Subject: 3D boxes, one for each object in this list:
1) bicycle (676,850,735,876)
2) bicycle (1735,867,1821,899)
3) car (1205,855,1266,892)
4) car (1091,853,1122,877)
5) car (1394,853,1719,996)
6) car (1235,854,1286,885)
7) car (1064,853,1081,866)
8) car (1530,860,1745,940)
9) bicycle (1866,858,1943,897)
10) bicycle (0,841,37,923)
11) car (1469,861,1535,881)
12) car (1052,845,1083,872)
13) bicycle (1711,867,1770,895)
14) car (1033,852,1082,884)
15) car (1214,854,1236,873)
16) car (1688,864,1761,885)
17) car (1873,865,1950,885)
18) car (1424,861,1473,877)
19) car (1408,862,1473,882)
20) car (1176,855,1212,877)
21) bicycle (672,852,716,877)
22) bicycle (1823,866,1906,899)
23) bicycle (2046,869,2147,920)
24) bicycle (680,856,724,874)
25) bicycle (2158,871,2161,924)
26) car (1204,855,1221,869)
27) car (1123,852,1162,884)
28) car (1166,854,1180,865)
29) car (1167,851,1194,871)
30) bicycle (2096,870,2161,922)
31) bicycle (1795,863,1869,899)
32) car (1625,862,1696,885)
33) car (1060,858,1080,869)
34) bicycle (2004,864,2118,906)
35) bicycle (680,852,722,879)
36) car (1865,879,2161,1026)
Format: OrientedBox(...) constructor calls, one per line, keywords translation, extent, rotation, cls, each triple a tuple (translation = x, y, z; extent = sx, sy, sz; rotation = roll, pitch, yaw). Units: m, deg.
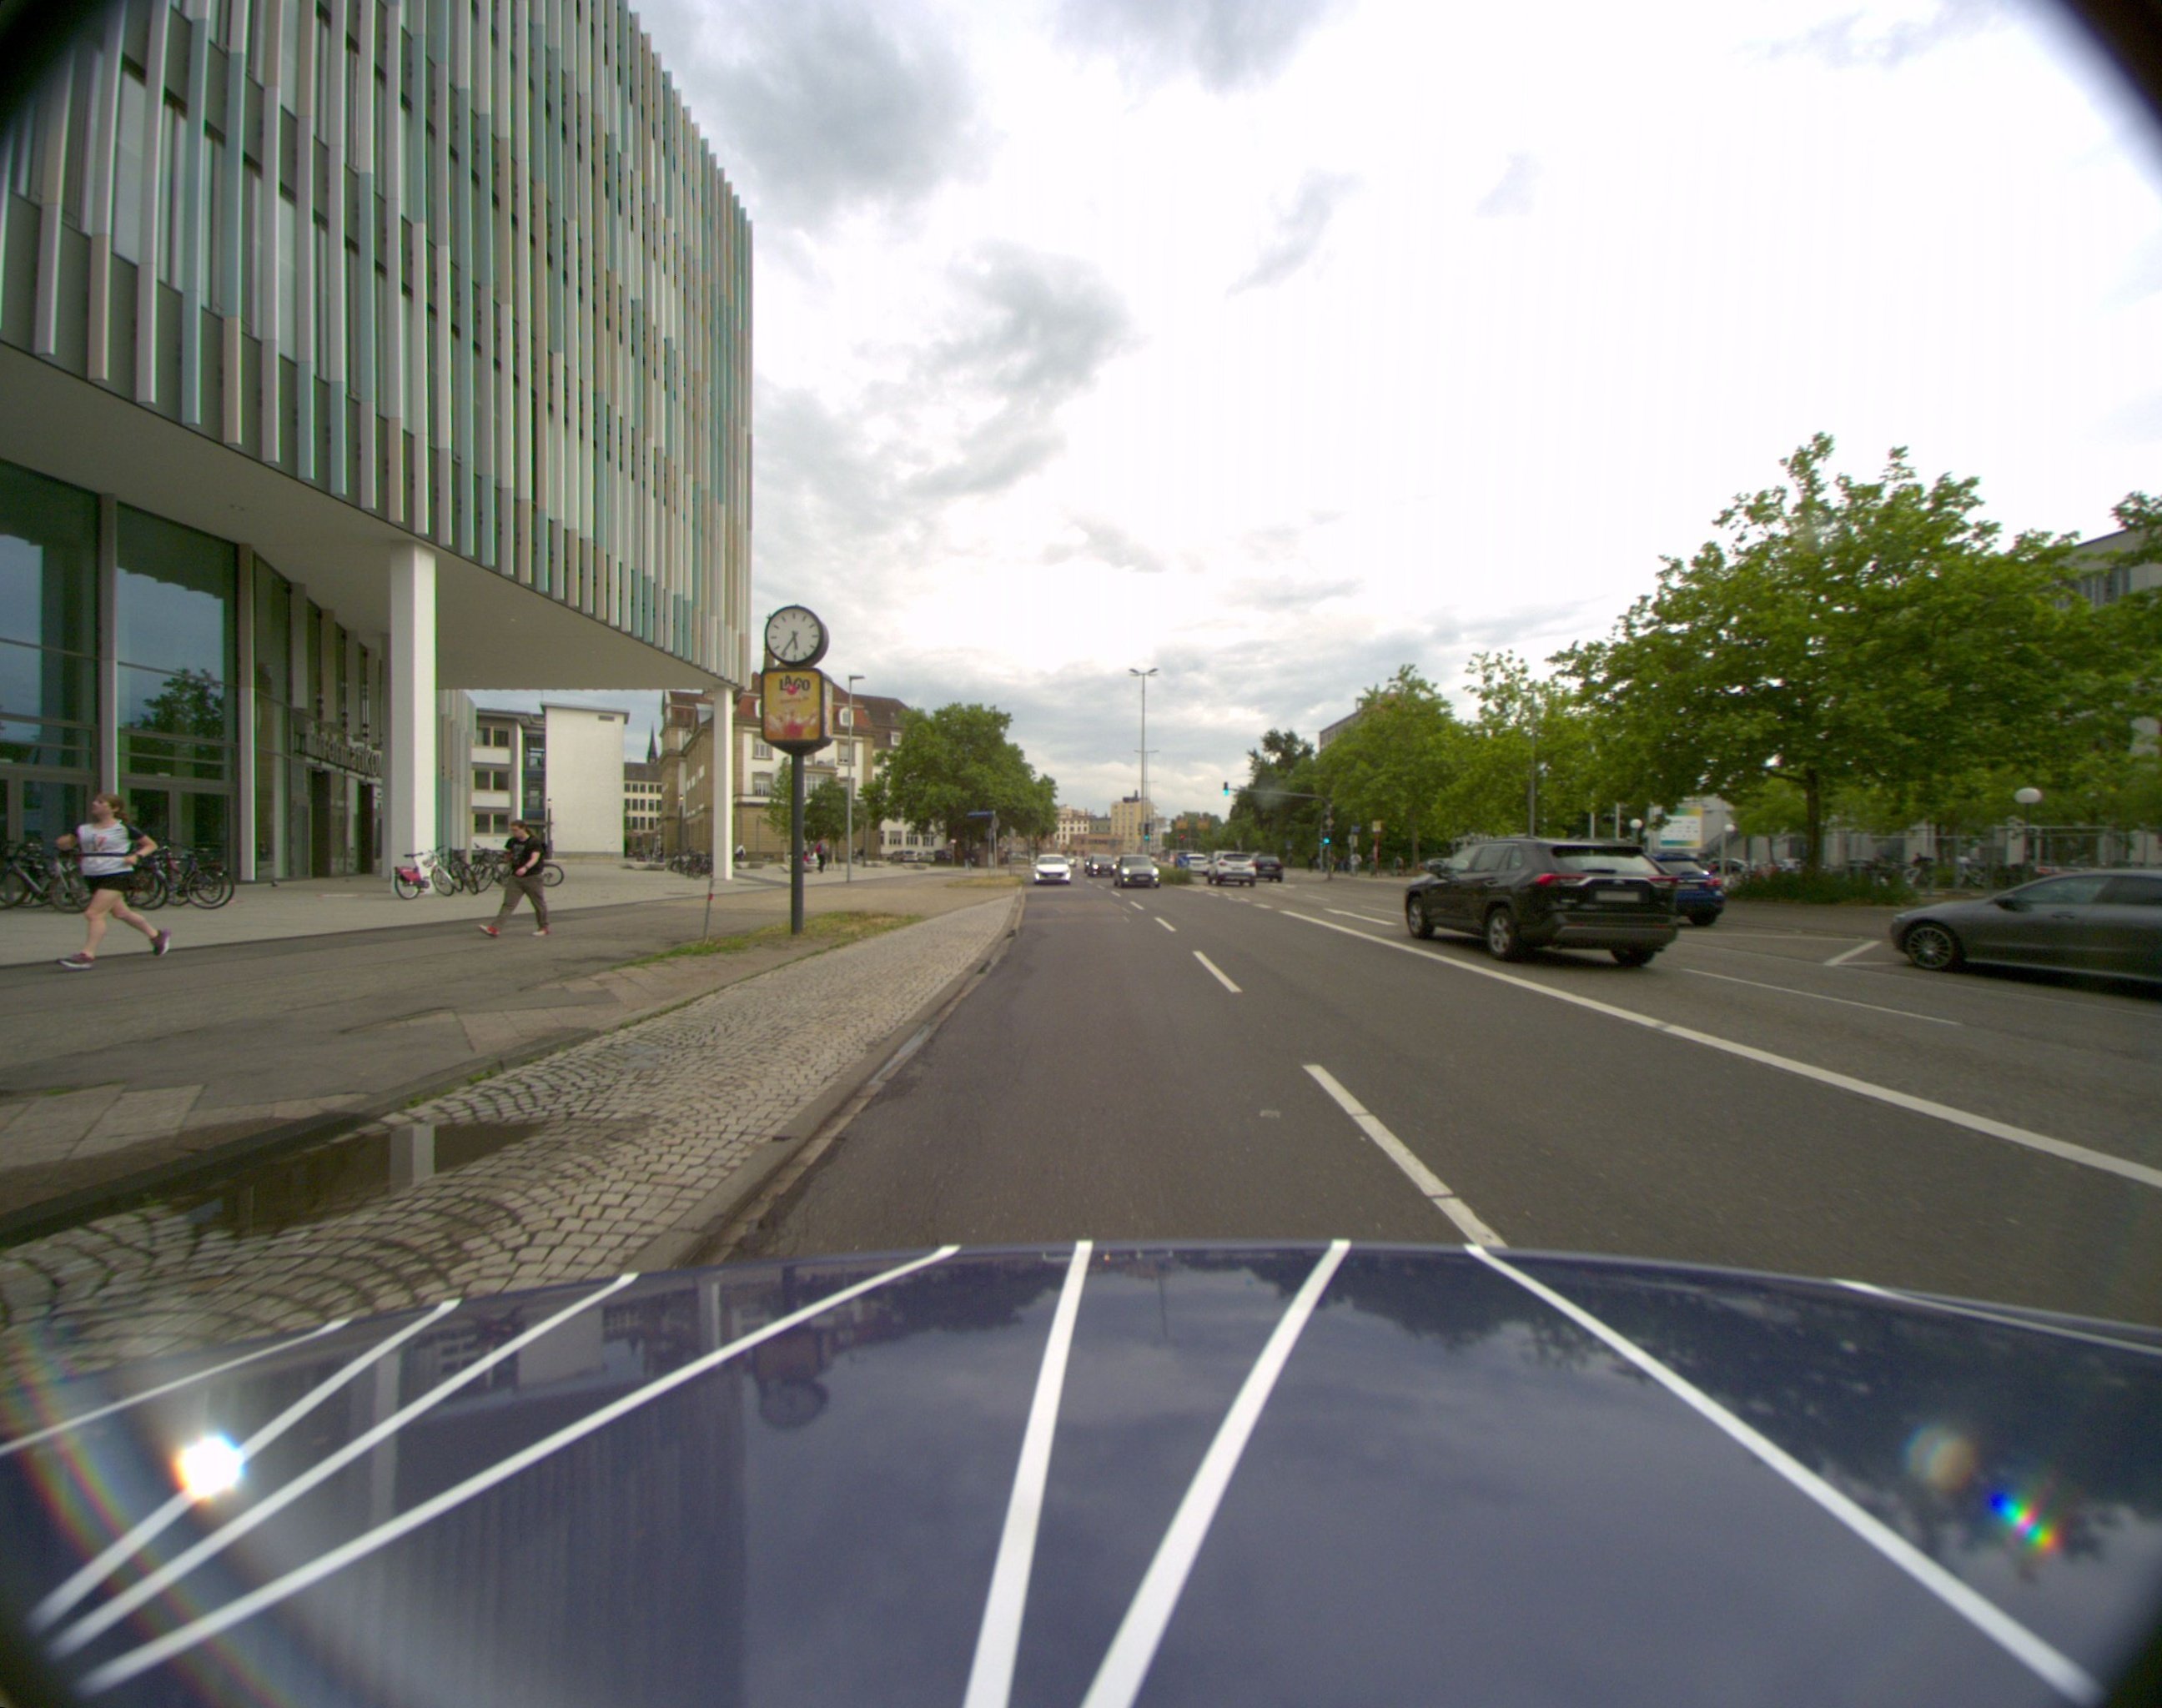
OrientedBox(translation=(-16.555, 0.409, 33.533), extent=(2.188, 1.109, 0.734), rotation=(1, 0, -41), cls="bicycle")
OrientedBox(translation=(27.385, 1.145, 29.876), extent=(2.754, 1.168, 0.721), rotation=(1, 0, -2), cls="bicycle")
OrientedBox(translation=(7.116, 0.850, 35.413), extent=(1.998, 1.538, 4.180), rotation=(2, 0, 1), cls="car")
OrientedBox(translation=(1.656, 0.695, 49.022), extent=(1.731, 1.450, 4.002), rotation=(1, 0, 5), cls="car")
OrientedBox(translation=(6.370, 0.804, 10.959), extent=(1.907, 1.584, 4.517), rotation=(1, 0, 2), cls="car")
OrientedBox(translation=(10.534, 0.864, 44.846), extent=(1.998, 1.684, 4.468), rotation=(1, 0, 1), cls="car")
OrientedBox(translation=(-0.888, 0.601, 84.503), extent=(1.605, 1.360, 3.580), rotation=(1, 0, 4), cls="car")
OrientedBox(translation=(12.740, 0.966, 17.853), extent=(1.863, 1.598, 4.594), rotation=(-1, 0, 3), cls="car")
OrientedBox(translation=(33.903, 0.961, 31.286), extent=(2.452, 1.550, 0.922), rotation=(1, 0, -9), cls="bicycle")
OrientedBox(translation=(-15.560, 0.347, 10.539), extent=(1.647, 1.085, 0.573), rotation=(4, 1, 10), cls="bicycle")
OrientedBox(translation=(32.672, 1.316, 58.998), extent=(3.998, 1.463, 2.000), rotation=(-1, 0, -2), cls="car")
OrientedBox(translation=(-0.999, 0.334, 59.939), extent=(1.998, 2.002, 4.002), rotation=(1, 0, 5), cls="car")
OrientedBox(translation=(27.962, 1.162, 32.236), extent=(2.332, 1.137, 0.720), rotation=(1, 0, -16), cls="bicycle")
OrientedBox(translation=(-1.127, 0.672, 38.363), extent=(1.812, 1.532, 4.002), rotation=(1, 0, 8), cls="car")
OrientedBox(translation=(14.354, 0.887, 75.790), extent=(1.775, 1.837, 4.490), rotation=(-1, 0, 6), cls="car")
OrientedBox(translation=(49.776, 1.577, 58.812), extent=(3.996, 1.544, 1.889), rotation=(1, 0, 2), cls="car")
OrientedBox(translation=(63.994, 1.615, 58.597), extent=(3.679, 1.448, 1.959), rotation=(1, 0, 2), cls="car")
OrientedBox(translation=(34.043, 1.351, 70.455), extent=(3.593, 1.441, 1.863), rotation=(0, 0, 1), cls="car")
OrientedBox(translation=(27.854, 1.359, 58.948), extent=(4.153, 1.463, 2.000), rotation=(-1, 0, -2), cls="car")
OrientedBox(translation=(7.918, 0.785, 53.542), extent=(1.908, 1.457, 4.911), rotation=(-1, 0, 1), cls="car")
OrientedBox(translation=(-20.667, 0.570, 40.598), extent=(2.011, 1.298, 0.644), rotation=(3, -1, -20), cls="bicycle")
OrientedBox(translation=(33.334, 1.201, 32.344), extent=(2.825, 1.321, 0.721), rotation=(1, 0, -2), cls="bicycle")
OrientedBox(translation=(33.484, 1.331, 25.071), extent=(2.406, 1.584, 0.721), rotation=(1, 1, -2), cls="bicycle")
OrientedBox(translation=(-18.775, 0.551, 37.657), extent=(0.670, 0.893, 1.850), rotation=(1, 0, 43), cls="bicycle")
OrientedBox(translation=(33.428, 1.326, 22.399), extent=(2.406, 1.584, 0.721), rotation=(1, 1, -2), cls="bicycle")
OrientedBox(translation=(16.529, 0.995, 95.569), extent=(1.997, 1.610, 4.003), rotation=(1, 0, 8), cls="car")
OrientedBox(translation=(2.731, 0.575, 33.526), extent=(1.624, 1.310, 3.707), rotation=(1, 0, 5), cls="car")
OrientedBox(translation=(14.092, 0.818, 116.627), extent=(1.997, 1.520, 4.276), rotation=(1, 0, 5), cls="car")
OrientedBox(translation=(8.737, 0.570, 67.265), extent=(1.998, 1.677, 4.949), rotation=(-1, 0, 3), cls="car")
OrientedBox(translation=(33.603, 1.326, 23.904), extent=(2.406, 1.584, 0.721), rotation=(1, 1, -2), cls="bicycle")
OrientedBox(translation=(33.699, 1.200, 34.093), extent=(2.667, 1.550, 0.922), rotation=(1, 0, -9), cls="bicycle")
OrientedBox(translation=(44.920, 1.490, 58.957), extent=(3.997, 1.674, 1.854), rotation=(1, 0, 0), cls="car")
OrientedBox(translation=(-1.214, 1.028, 83.307), extent=(1.702, 1.181, 2.832), rotation=(-1, 0, 9), cls="car")
OrientedBox(translation=(38.514, 1.214, 29.914), extent=(2.661, 1.550, 0.924), rotation=(1, 0, 19), cls="bicycle")
OrientedBox(translation=(-15.652, 0.469, 31.358), extent=(0.640, 1.055, 1.841), rotation=(-1, 0, 6), cls="bicycle")
OrientedBox(translation=(12.246, 1.095, 8.720), extent=(1.878, 1.416, 4.730), rotation=(1, 0, 6), cls="car")
